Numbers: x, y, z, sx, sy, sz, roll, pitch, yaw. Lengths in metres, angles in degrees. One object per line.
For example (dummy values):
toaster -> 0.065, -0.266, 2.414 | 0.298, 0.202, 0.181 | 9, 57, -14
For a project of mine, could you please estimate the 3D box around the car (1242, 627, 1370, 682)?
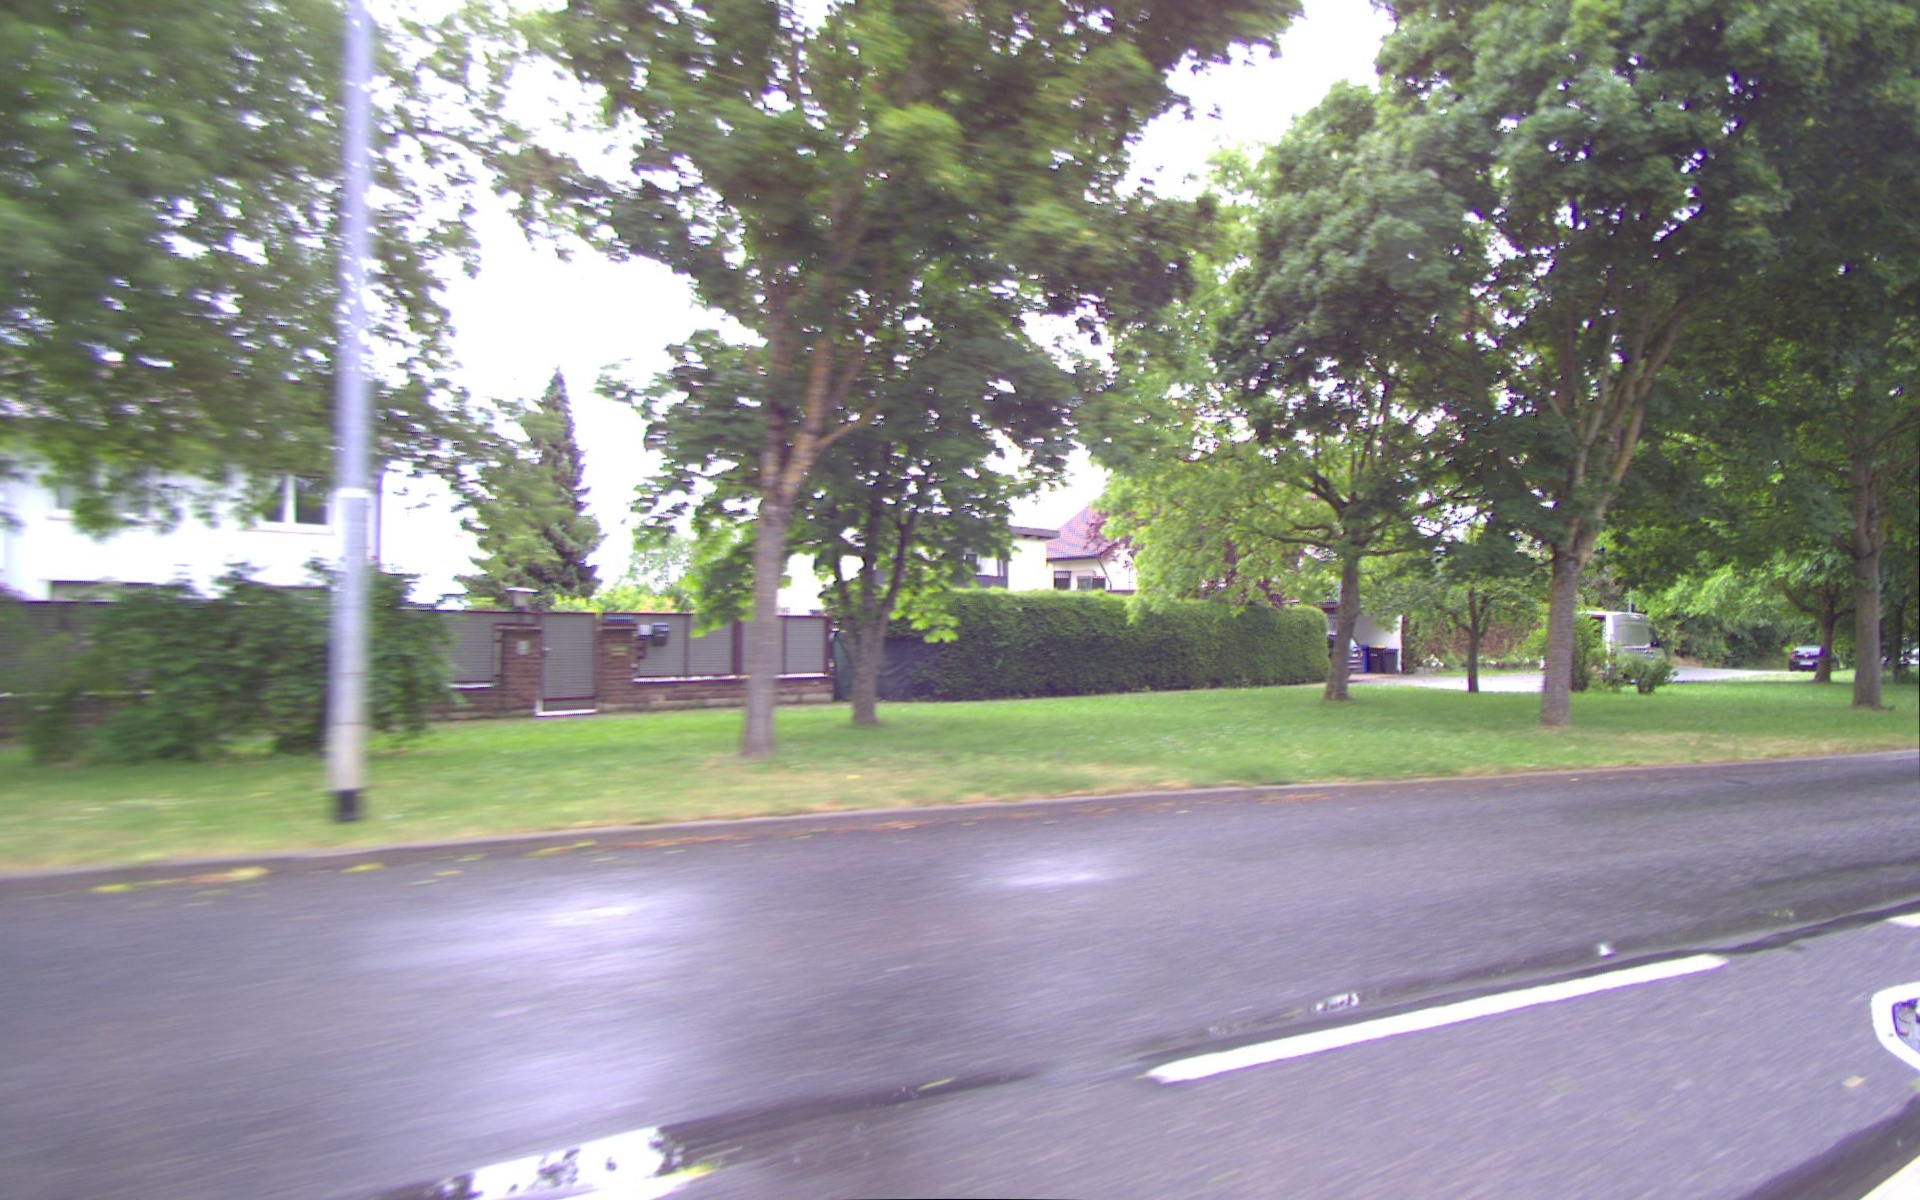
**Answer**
car -> 12.324, 1.903, 35.925 | 1.865, 1.840, 3.953 | 2, -2, -40

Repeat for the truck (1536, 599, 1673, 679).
truck -> 22.955, 1.364, 35.709 | 5.820, 2.631, 2.268 | 2, -2, -37

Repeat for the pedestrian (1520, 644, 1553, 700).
pedestrian -> 19.683, 2.444, 34.276 | 0.816, 1.865, 0.704 | 1, -1, -36

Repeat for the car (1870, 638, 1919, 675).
car -> 40.190, 2.374, 42.738 | 3.971, 1.501, 1.824 | 2, -2, -43

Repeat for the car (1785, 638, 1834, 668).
car -> 46.058, 2.851, 54.446 | 3.085, 1.550, 1.467 | 2, -2, -38
